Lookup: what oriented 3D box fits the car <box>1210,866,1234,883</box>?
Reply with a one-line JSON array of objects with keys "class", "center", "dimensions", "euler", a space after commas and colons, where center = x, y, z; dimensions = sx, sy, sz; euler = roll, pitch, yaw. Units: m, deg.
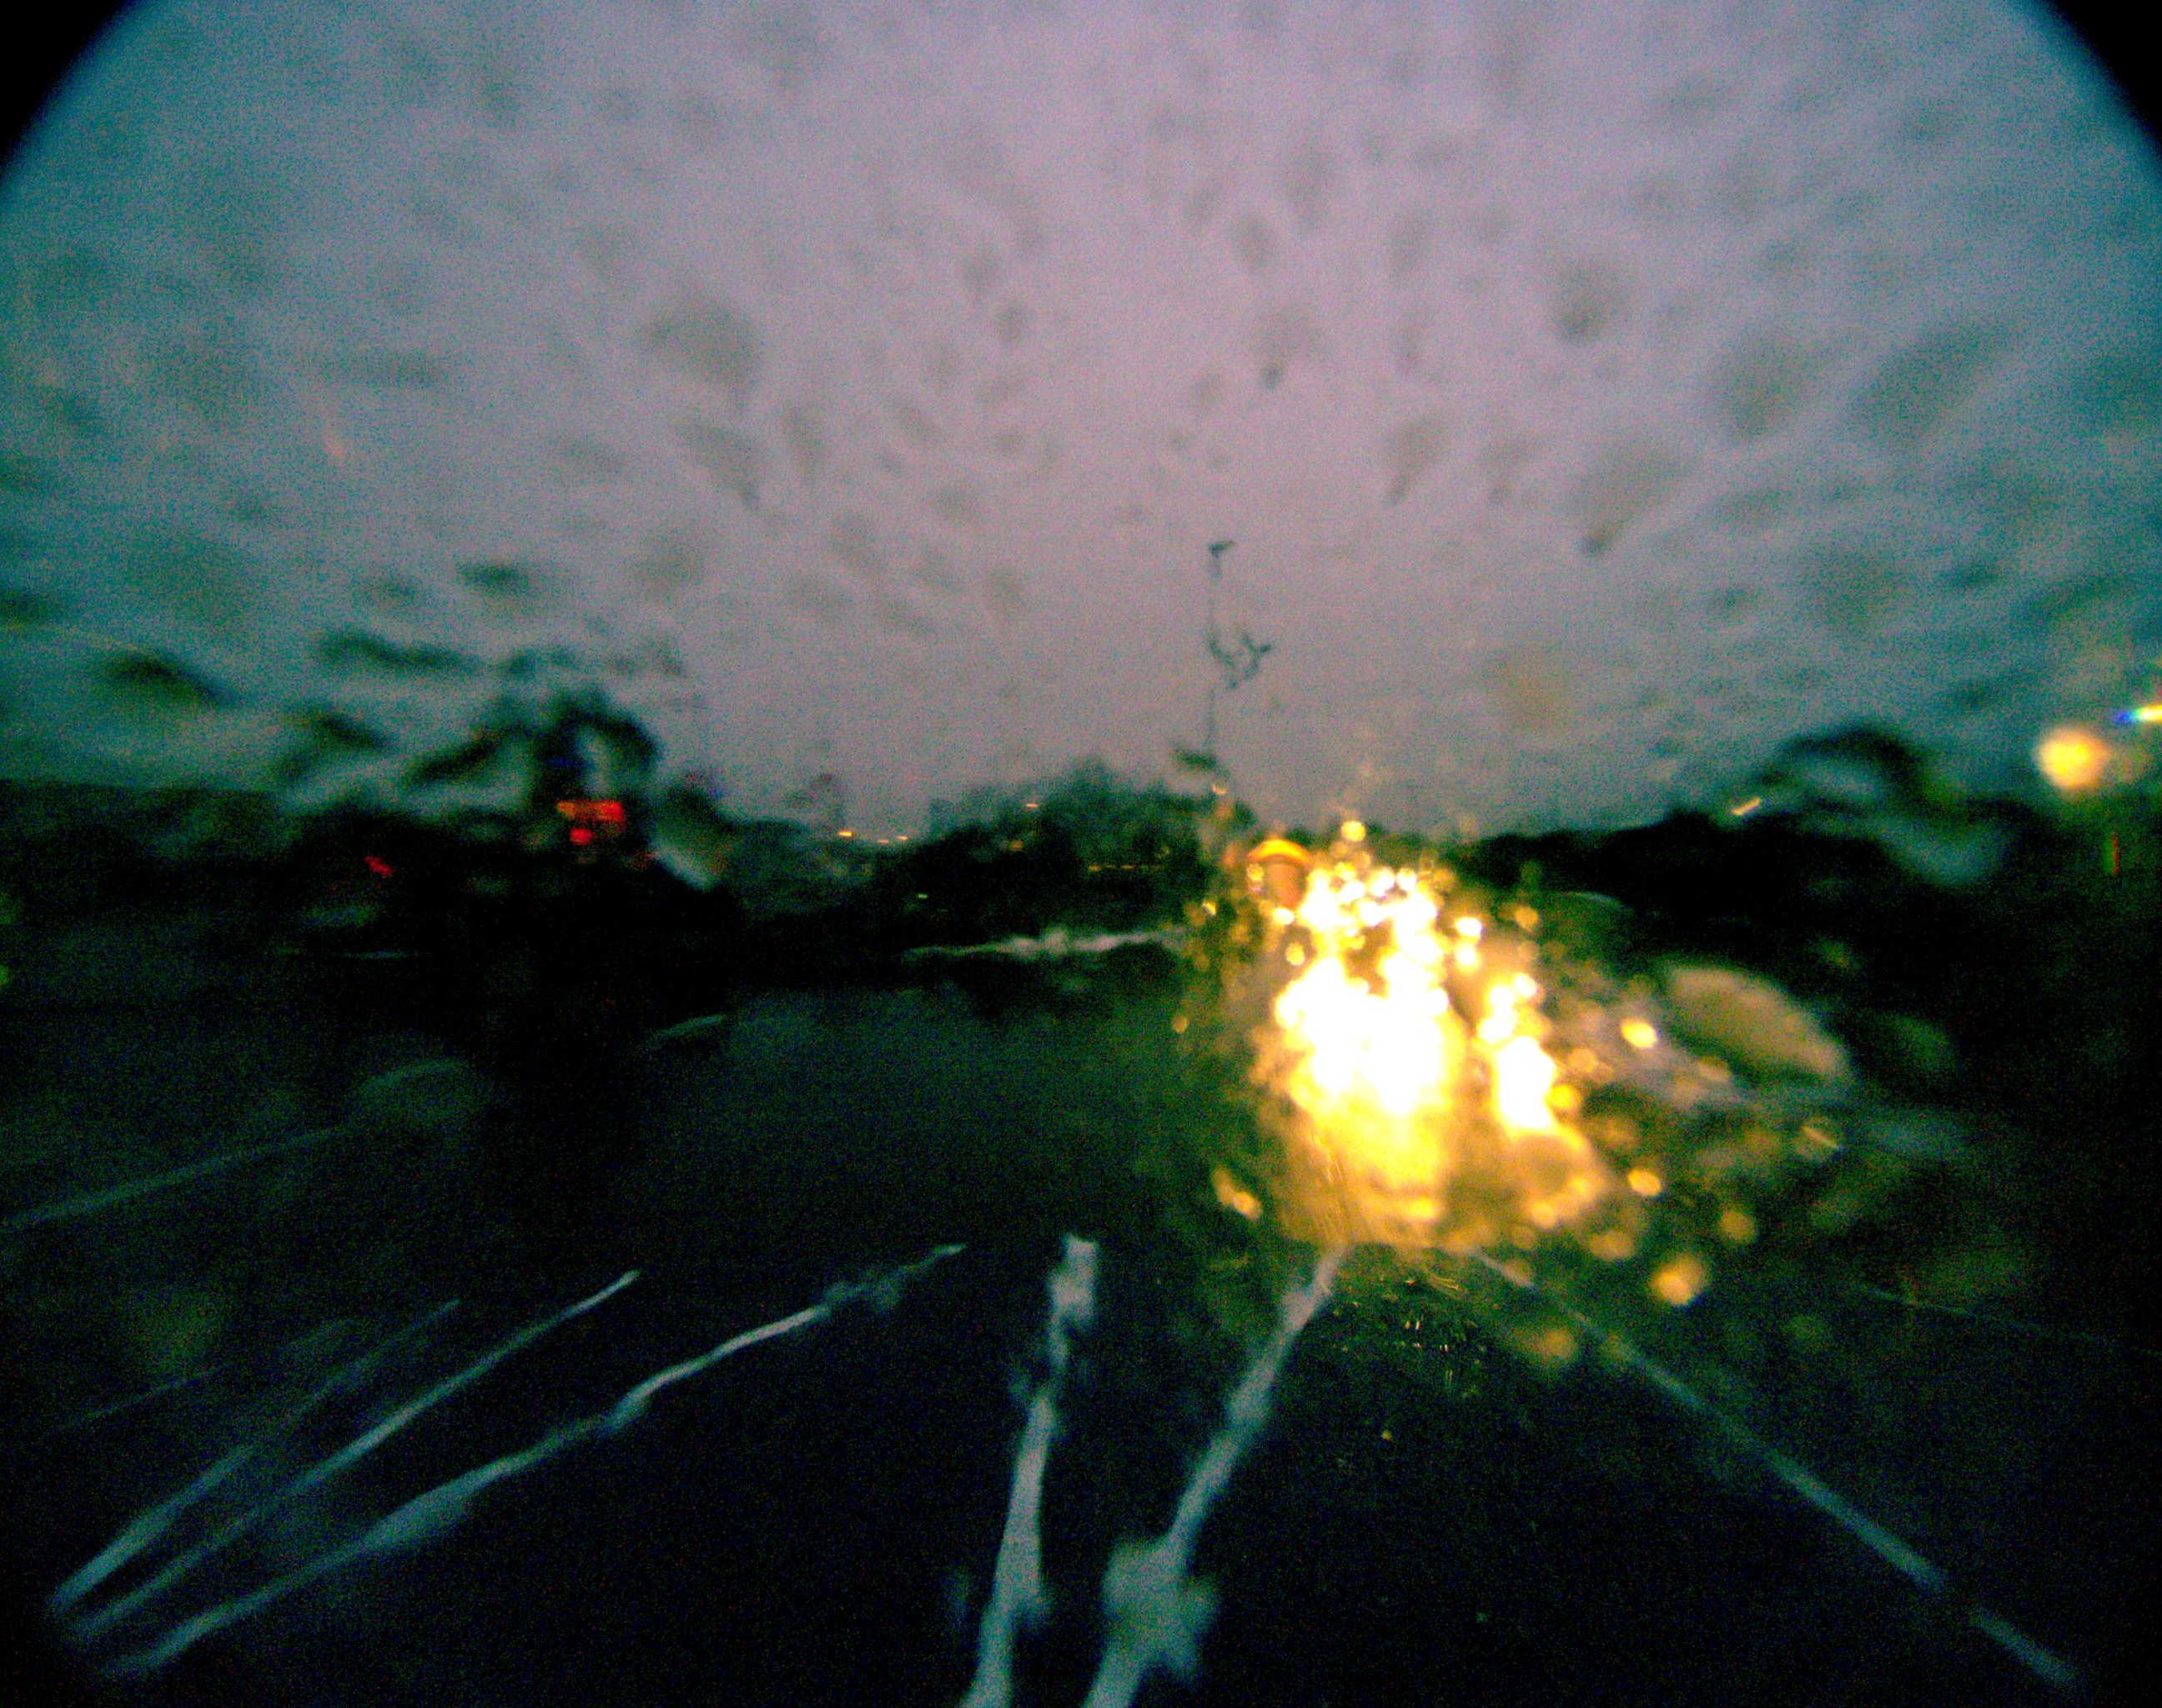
[{"class": "car", "center": [21.709, 3.178, 117.230], "dimensions": [2.280, 2.425, 5.237], "euler": [1, 0, -4]}]

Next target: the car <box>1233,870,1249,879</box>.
[{"class": "car", "center": [25.819, 3.298, 122.587], "dimensions": [1.714, 1.404, 4.013], "euler": [1, 0, -1]}]

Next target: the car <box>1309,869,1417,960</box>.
[{"class": "car", "center": [6.025, 1.138, 15.944], "dimensions": [1.806, 1.453, 4.252], "euler": [-1, 1, 24]}]
